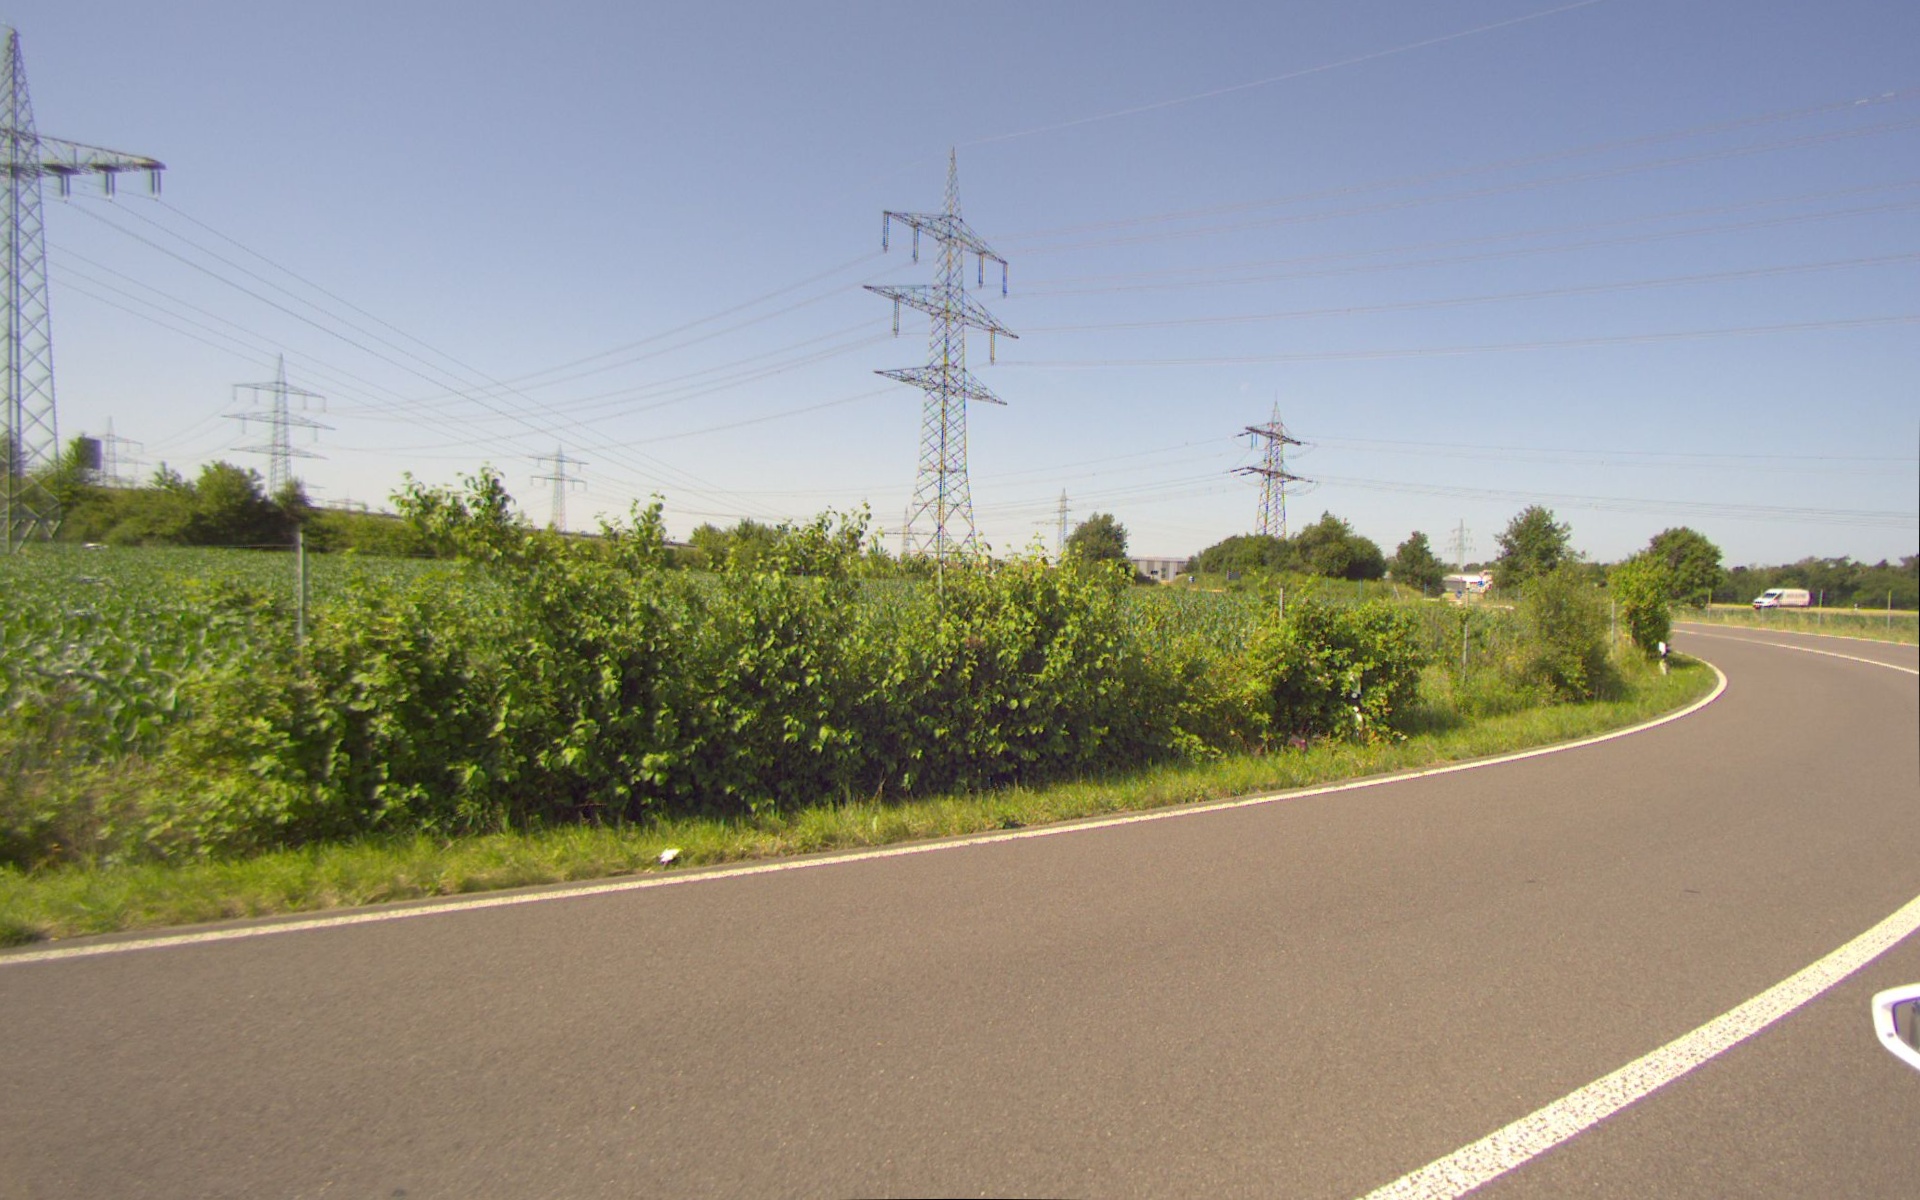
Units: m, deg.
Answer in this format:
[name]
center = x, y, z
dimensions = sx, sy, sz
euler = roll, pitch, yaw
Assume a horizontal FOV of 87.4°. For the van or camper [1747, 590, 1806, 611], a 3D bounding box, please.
[van or camper]
center = 96.758, 0.016, 119.012
dimensions = 5.662, 2.297, 1.997
euler = 2, 1, -8
